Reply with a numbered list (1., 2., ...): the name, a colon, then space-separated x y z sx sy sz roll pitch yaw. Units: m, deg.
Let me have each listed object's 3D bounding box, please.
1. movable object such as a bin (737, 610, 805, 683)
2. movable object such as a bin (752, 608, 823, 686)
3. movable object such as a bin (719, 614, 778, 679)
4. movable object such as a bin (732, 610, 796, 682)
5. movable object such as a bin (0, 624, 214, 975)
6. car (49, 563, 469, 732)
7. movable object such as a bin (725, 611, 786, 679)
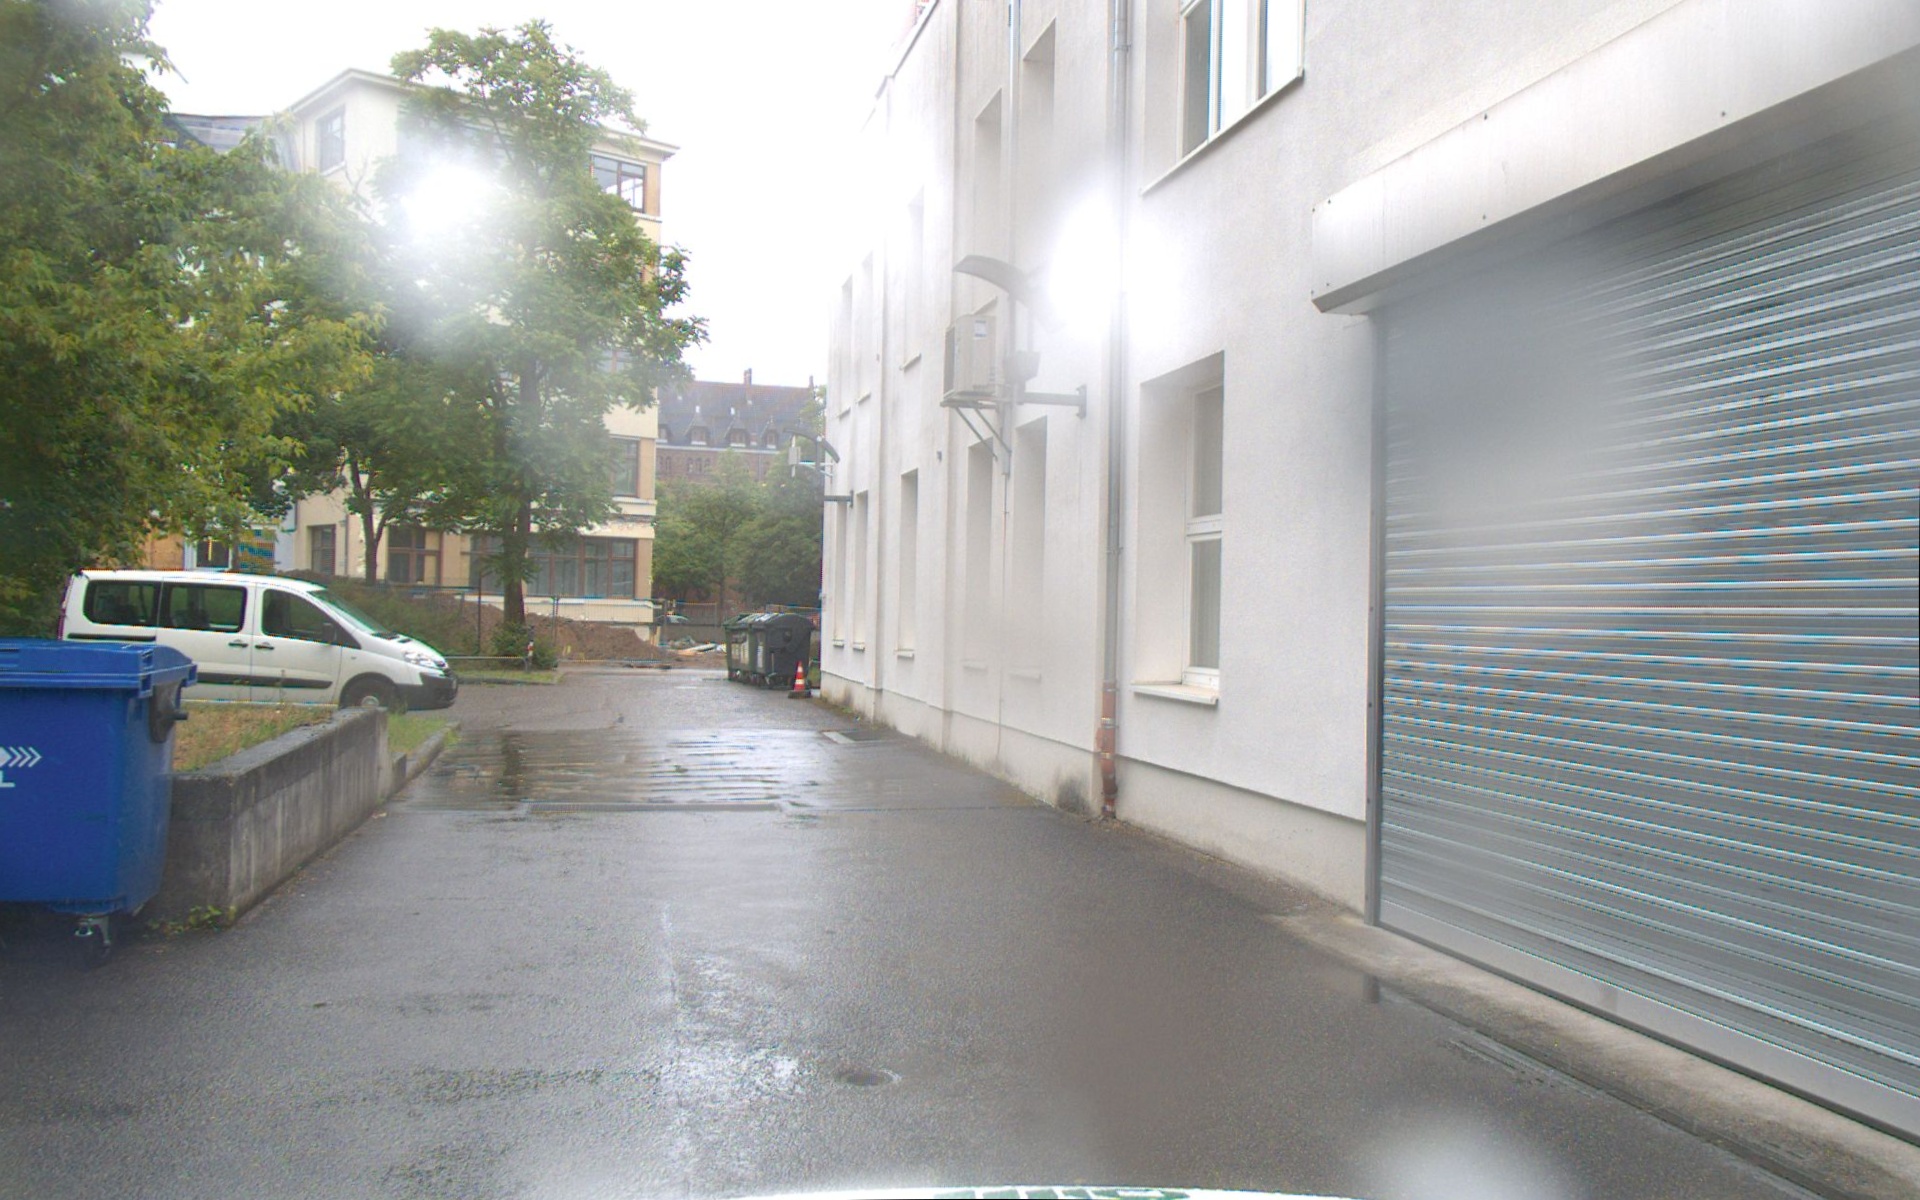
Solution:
1. movable object such as a bin: -3.899 0.969 34.044 1.194 1.462 1.289 2 -3 -14
2. movable object such as a bin: -3.394 0.936 32.430 1.194 1.462 1.231 2 -3 -15
3. movable object such as a bin: -4.897 1.081 38.298 1.194 1.462 1.254 2 -3 -14
4. movable object such as a bin: -4.222 0.999 35.638 1.194 1.494 1.231 2 -3 -15
5. movable object such as a bin: -3.945 0.798 7.008 1.200 1.360 1.003 1 0 -12
6. car: -8.963 0.591 21.586 4.696 2.049 1.994 1 0 -12
7. movable object such as a bin: -4.578 1.022 36.963 1.194 1.462 1.254 2 -3 -14
